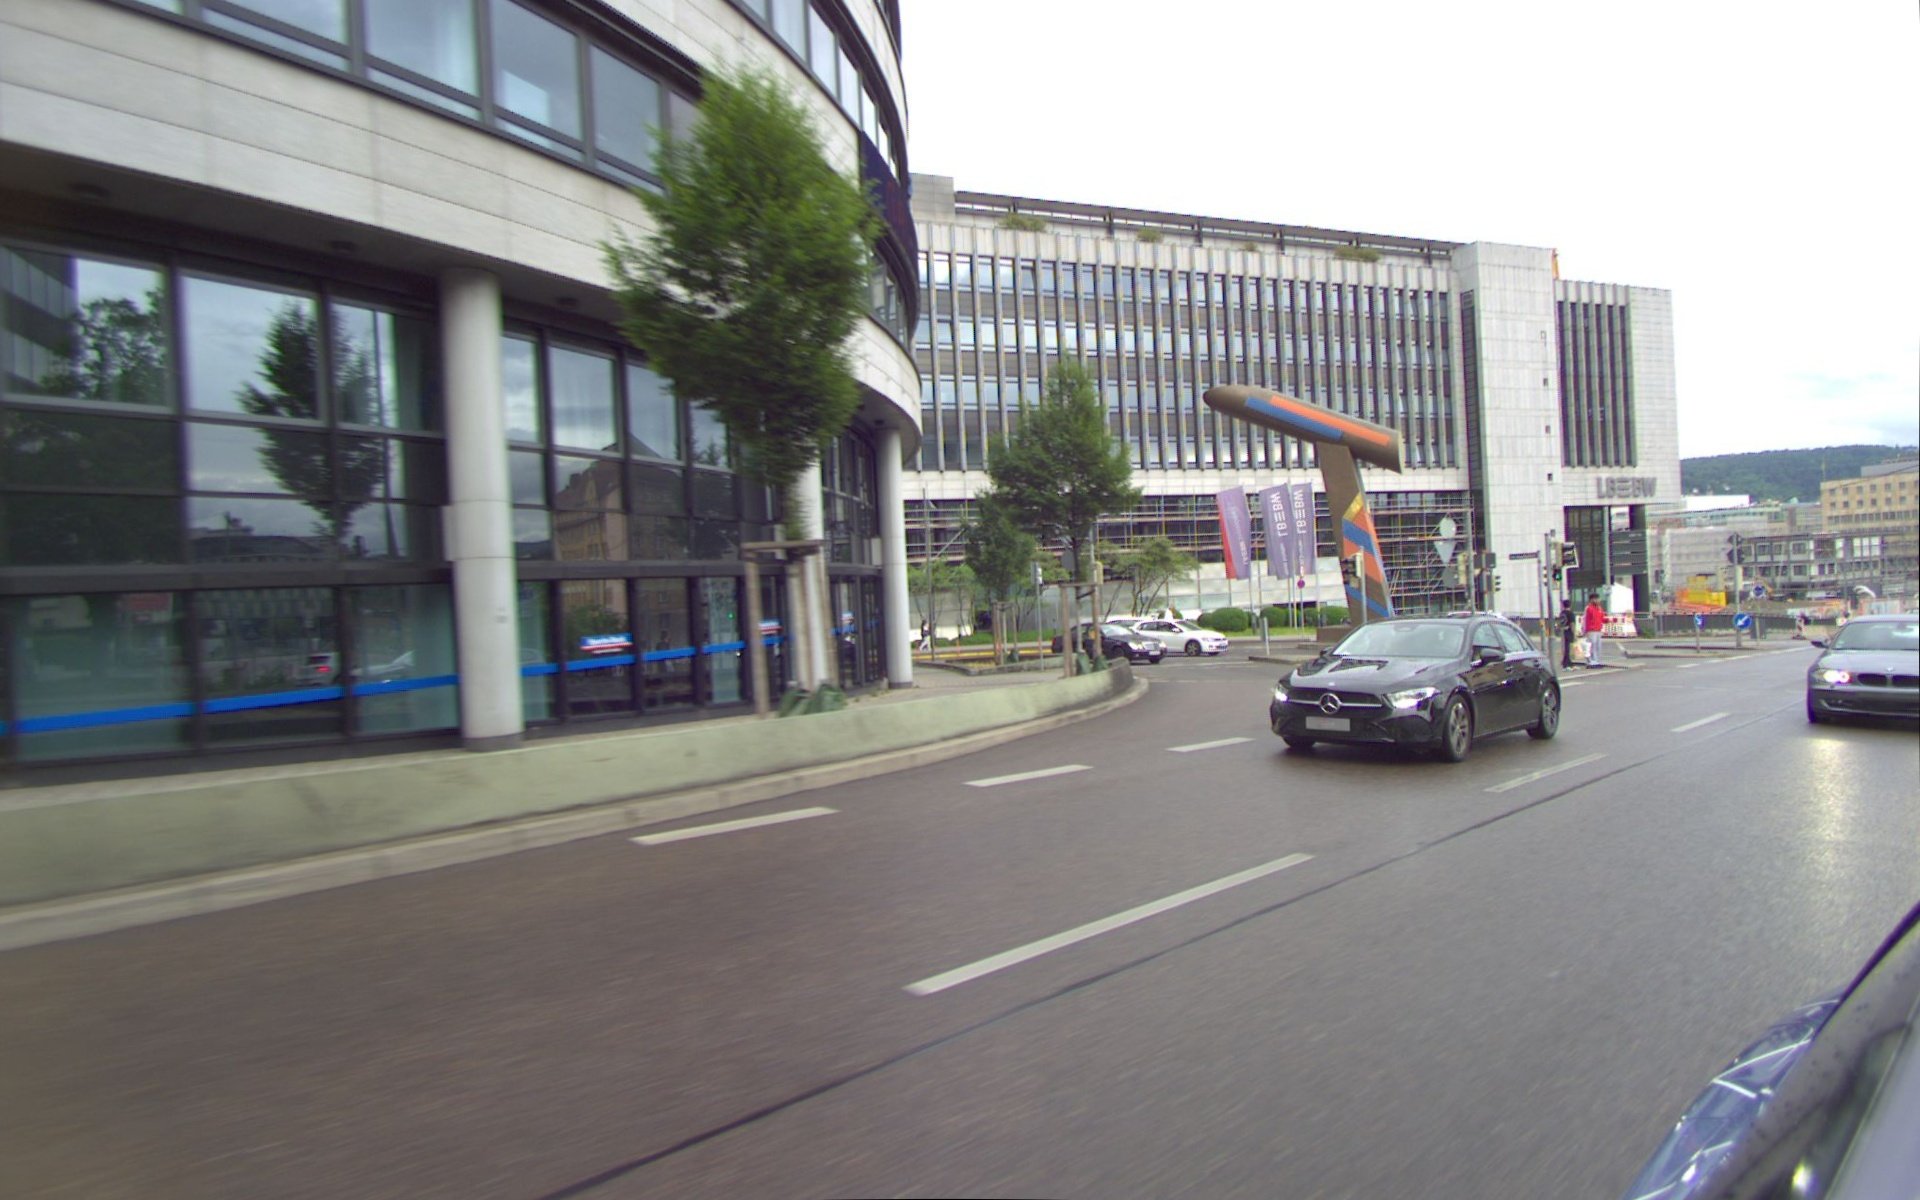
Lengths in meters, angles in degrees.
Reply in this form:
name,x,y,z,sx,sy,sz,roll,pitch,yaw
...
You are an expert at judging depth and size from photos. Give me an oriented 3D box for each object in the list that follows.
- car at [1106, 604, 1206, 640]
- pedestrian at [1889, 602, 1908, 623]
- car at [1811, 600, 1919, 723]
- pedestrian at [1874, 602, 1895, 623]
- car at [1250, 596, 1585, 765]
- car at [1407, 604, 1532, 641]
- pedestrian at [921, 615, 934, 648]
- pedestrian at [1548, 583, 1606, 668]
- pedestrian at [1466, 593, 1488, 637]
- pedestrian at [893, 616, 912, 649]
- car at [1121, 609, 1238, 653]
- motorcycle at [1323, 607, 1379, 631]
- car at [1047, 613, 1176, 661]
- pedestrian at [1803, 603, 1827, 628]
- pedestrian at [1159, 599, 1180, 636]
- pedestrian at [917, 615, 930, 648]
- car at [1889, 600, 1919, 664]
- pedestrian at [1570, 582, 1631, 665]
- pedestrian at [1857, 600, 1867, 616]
name,x,y,z,sx,sy,sz,roll,pitch,yaw
car,9.374,1.040,48.390,4.519,1.655,1.766,-1,-1,18
pedestrian,75.364,1.012,81.243,0.788,1.595,0.735,-2,-1,-14
car,12.834,0.734,13.528,3.932,1.461,1.741,0,0,-43
pedestrian,74.863,1.025,81.967,0.932,1.613,0.865,-2,0,-14
car,5.073,0.714,10.952,4.155,1.425,1.757,-1,0,-42
car,22.085,0.985,44.036,4.549,1.469,1.698,-2,-1,16
pedestrian,-1.751,1.700,54.504,0.541,1.769,0.563,0,-2,-15
pedestrian,14.649,0.591,24.031,0.716,1.928,0.845,-2,0,-16
pedestrian,25.974,0.760,50.865,0.846,2.126,0.896,-3,-3,25
pedestrian,-3.166,1.777,55.499,0.885,1.769,0.946,0,-2,-15
car,8.364,1.195,38.775,3.987,1.460,1.838,-3,1,45
motorcycle,19.758,0.954,51.137,2.562,1.094,0.625,3,1,42
car,5.163,1.252,35.109,1.830,1.460,4.718,-2,0,-30
pedestrian,59.107,1.054,69.981,1.038,1.673,0.733,-1,-1,-14
pedestrian,10.676,0.892,51.549,0.766,1.840,0.971,-2,0,-1
pedestrian,-1.981,1.715,55.070,0.541,1.769,0.563,0,-2,-15
car,25.430,0.769,25.718,4.140,1.568,1.969,0,-1,-37
pedestrian,15.553,0.555,24.597,0.843,1.928,0.845,-2,0,-16
pedestrian,96.728,0.845,108.506,0.485,1.770,0.569,-2,0,-23
